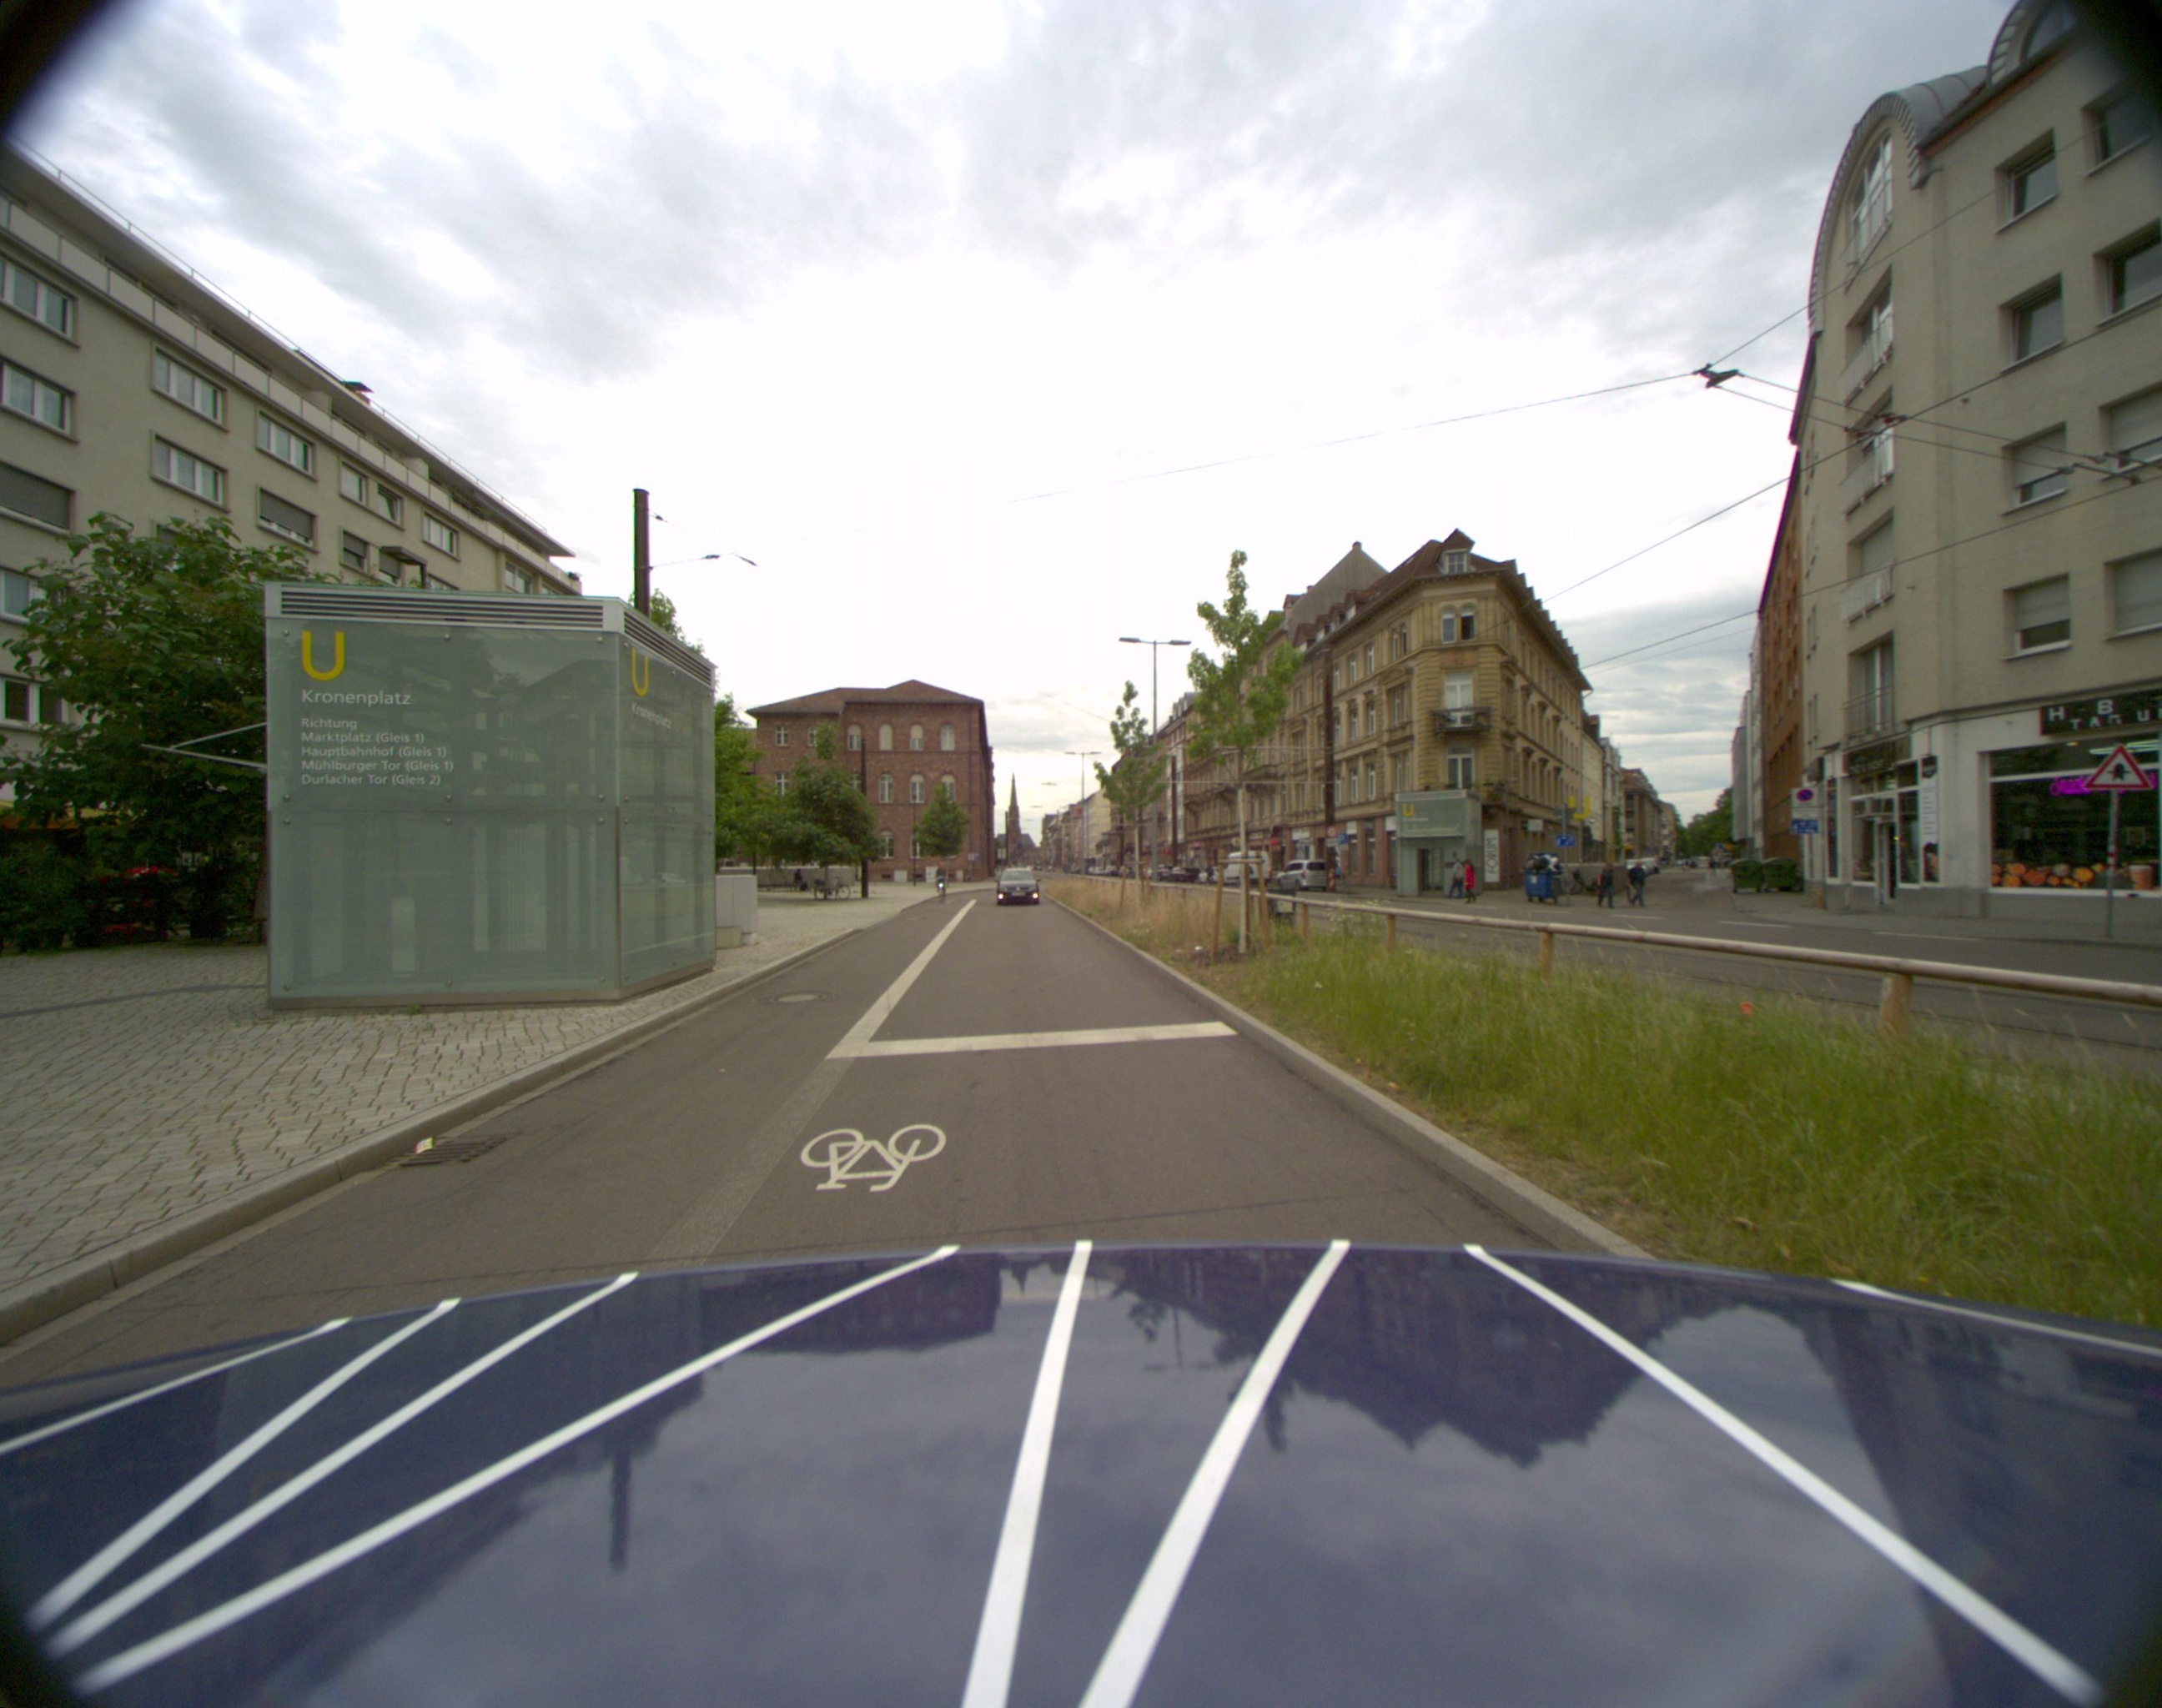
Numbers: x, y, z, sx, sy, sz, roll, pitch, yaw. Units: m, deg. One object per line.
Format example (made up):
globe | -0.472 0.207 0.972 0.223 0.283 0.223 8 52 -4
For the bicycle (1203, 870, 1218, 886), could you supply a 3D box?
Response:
bicycle | 8.933 1.654 52.302 0.480 1.015 1.911 0 0 -7

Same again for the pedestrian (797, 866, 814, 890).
pedestrian | -17.164 1.480 47.389 0.781 1.447 0.766 2 0 -35

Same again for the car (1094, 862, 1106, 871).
car | 3.372 2.212 135.351 1.749 1.455 4.044 0 -1 -6

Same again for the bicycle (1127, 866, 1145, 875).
bicycle | 7.213 2.199 100.347 2.289 1.196 0.704 1 0 -5

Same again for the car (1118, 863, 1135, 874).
car | 6.365 2.051 106.263 1.749 1.524 4.223 0 -1 -6

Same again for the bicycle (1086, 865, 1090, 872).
bicycle | 1.301 2.592 136.022 0.586 1.167 2.044 1 0 -4

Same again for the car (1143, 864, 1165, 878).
car | 8.444 1.961 88.054 1.749 1.479 3.918 0 -1 -7

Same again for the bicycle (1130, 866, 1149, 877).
bicycle | 7.537 2.219 97.623 2.289 1.321 0.666 1 0 -5

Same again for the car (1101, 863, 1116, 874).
car | 4.395 2.282 121.536 1.749 1.662 4.044 0 -1 -6

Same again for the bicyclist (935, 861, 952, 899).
bicyclist | -6.132 1.160 33.862 0.570 1.674 0.794 -1 0 3

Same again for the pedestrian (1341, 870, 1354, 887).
pedestrian | 15.706 1.445 44.802 0.555 1.024 0.453 -2 0 3

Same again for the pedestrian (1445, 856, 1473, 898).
pedestrian | 15.349 0.936 30.876 0.823 1.677 0.723 0 1 12

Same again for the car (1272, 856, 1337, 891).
car | 12.746 1.099 43.661 1.909 1.853 4.518 1 -1 -7

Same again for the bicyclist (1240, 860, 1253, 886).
bicyclist | 9.841 1.112 45.165 0.492 1.531 0.811 0 0 -7

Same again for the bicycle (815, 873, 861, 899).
bicycle | -11.247 1.495 35.204 1.918 1.116 0.645 -2 0 5

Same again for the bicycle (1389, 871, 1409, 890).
bicycle | 16.720 1.401 39.982 0.341 0.953 1.687 -2 0 1

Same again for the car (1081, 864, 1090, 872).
car | 0.944 3.192 169.865 1.705 1.662 4.179 -2 0 -5

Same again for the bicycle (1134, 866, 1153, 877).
bicycle | 7.719 2.106 93.973 2.289 1.321 0.666 1 0 -5

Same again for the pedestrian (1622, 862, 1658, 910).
pedestrian | 19.967 1.128 27.155 0.661 1.677 0.924 0 1 10

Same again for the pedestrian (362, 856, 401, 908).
pedestrian | -25.517 1.008 27.718 0.774 1.874 0.854 -2 0 33

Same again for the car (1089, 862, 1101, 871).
car | 2.547 2.309 140.098 1.830 1.512 4.544 0 -1 -5

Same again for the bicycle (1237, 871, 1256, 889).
bicycle | 9.836 1.558 45.217 0.478 1.015 1.911 0 0 -7

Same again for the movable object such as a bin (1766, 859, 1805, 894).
movable object such as a bin | 29.144 0.942 31.459 1.008 1.397 1.241 -2 0 35

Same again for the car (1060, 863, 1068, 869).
car | -4.806 3.275 211.247 1.868 1.553 3.998 1 -1 -5

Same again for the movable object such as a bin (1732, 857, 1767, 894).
movable object such as a bin | 28.288 0.908 32.180 0.944 1.492 1.241 -2 0 35

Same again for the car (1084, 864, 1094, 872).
car | 1.653 2.970 159.644 1.708 1.746 3.918 0 -1 -4

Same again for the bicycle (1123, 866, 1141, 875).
bicycle | 6.857 2.192 101.616 2.289 1.196 0.704 1 0 -5

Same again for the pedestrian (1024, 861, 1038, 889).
pedestrian | -3.385 1.399 51.539 0.872 1.890 0.772 1 -1 -7

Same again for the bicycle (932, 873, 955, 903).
bicycle | -6.125 1.514 33.893 0.524 1.253 1.942 -1 0 4

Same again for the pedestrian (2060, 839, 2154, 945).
pedestrian | 16.800 0.590 12.458 0.662 1.677 0.721 -1 1 -18

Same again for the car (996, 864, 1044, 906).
car | -2.538 1.209 30.773 1.748 1.538 3.648 -1 0 -7

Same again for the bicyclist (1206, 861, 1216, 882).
bicyclist | 8.930 1.208 52.226 0.480 1.398 0.811 0 0 -7

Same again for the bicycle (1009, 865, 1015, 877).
bicycle | -6.937 1.732 76.320 0.472 1.151 2.272 -1 0 -6

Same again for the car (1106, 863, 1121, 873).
car | 4.927 2.206 116.495 1.749 1.479 3.919 0 -1 -5

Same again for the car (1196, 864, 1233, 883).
car | 10.876 1.561 62.074 1.776 1.414 4.162 2 -1 -7

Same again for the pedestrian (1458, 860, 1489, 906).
pedestrian | 14.527 1.072 28.130 0.723 1.677 0.661 -1 1 -16

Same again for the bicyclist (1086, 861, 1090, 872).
bicyclist | 1.276 2.186 136.124 0.647 1.872 1.028 -2 0 -4

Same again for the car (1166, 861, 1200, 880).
car | 9.565 1.535 71.407 1.925 1.679 5.049 2 -1 -7

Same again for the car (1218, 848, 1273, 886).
car | 11.655 0.924 54.171 2.059 2.472 5.663 2 -1 -7

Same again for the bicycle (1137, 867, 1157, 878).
bicycle | 7.940 2.222 91.352 2.289 1.321 0.666 1 0 -5

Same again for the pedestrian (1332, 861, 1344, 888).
pedestrian | 15.078 1.202 44.518 0.554 1.547 0.658 -2 0 12

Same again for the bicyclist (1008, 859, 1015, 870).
bicyclist | -7.000 1.053 76.472 0.587 1.164 0.662 -1 0 -6

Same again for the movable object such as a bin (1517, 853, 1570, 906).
movable object such as a bin | 17.681 0.940 29.077 1.033 1.970 1.617 0 1 1

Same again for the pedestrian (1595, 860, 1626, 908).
pedestrian | 19.006 1.078 27.277 0.661 1.677 0.723 0 1 10

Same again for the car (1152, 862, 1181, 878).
car | 8.981 1.658 80.092 1.819 1.679 5.028 0 -1 -8
